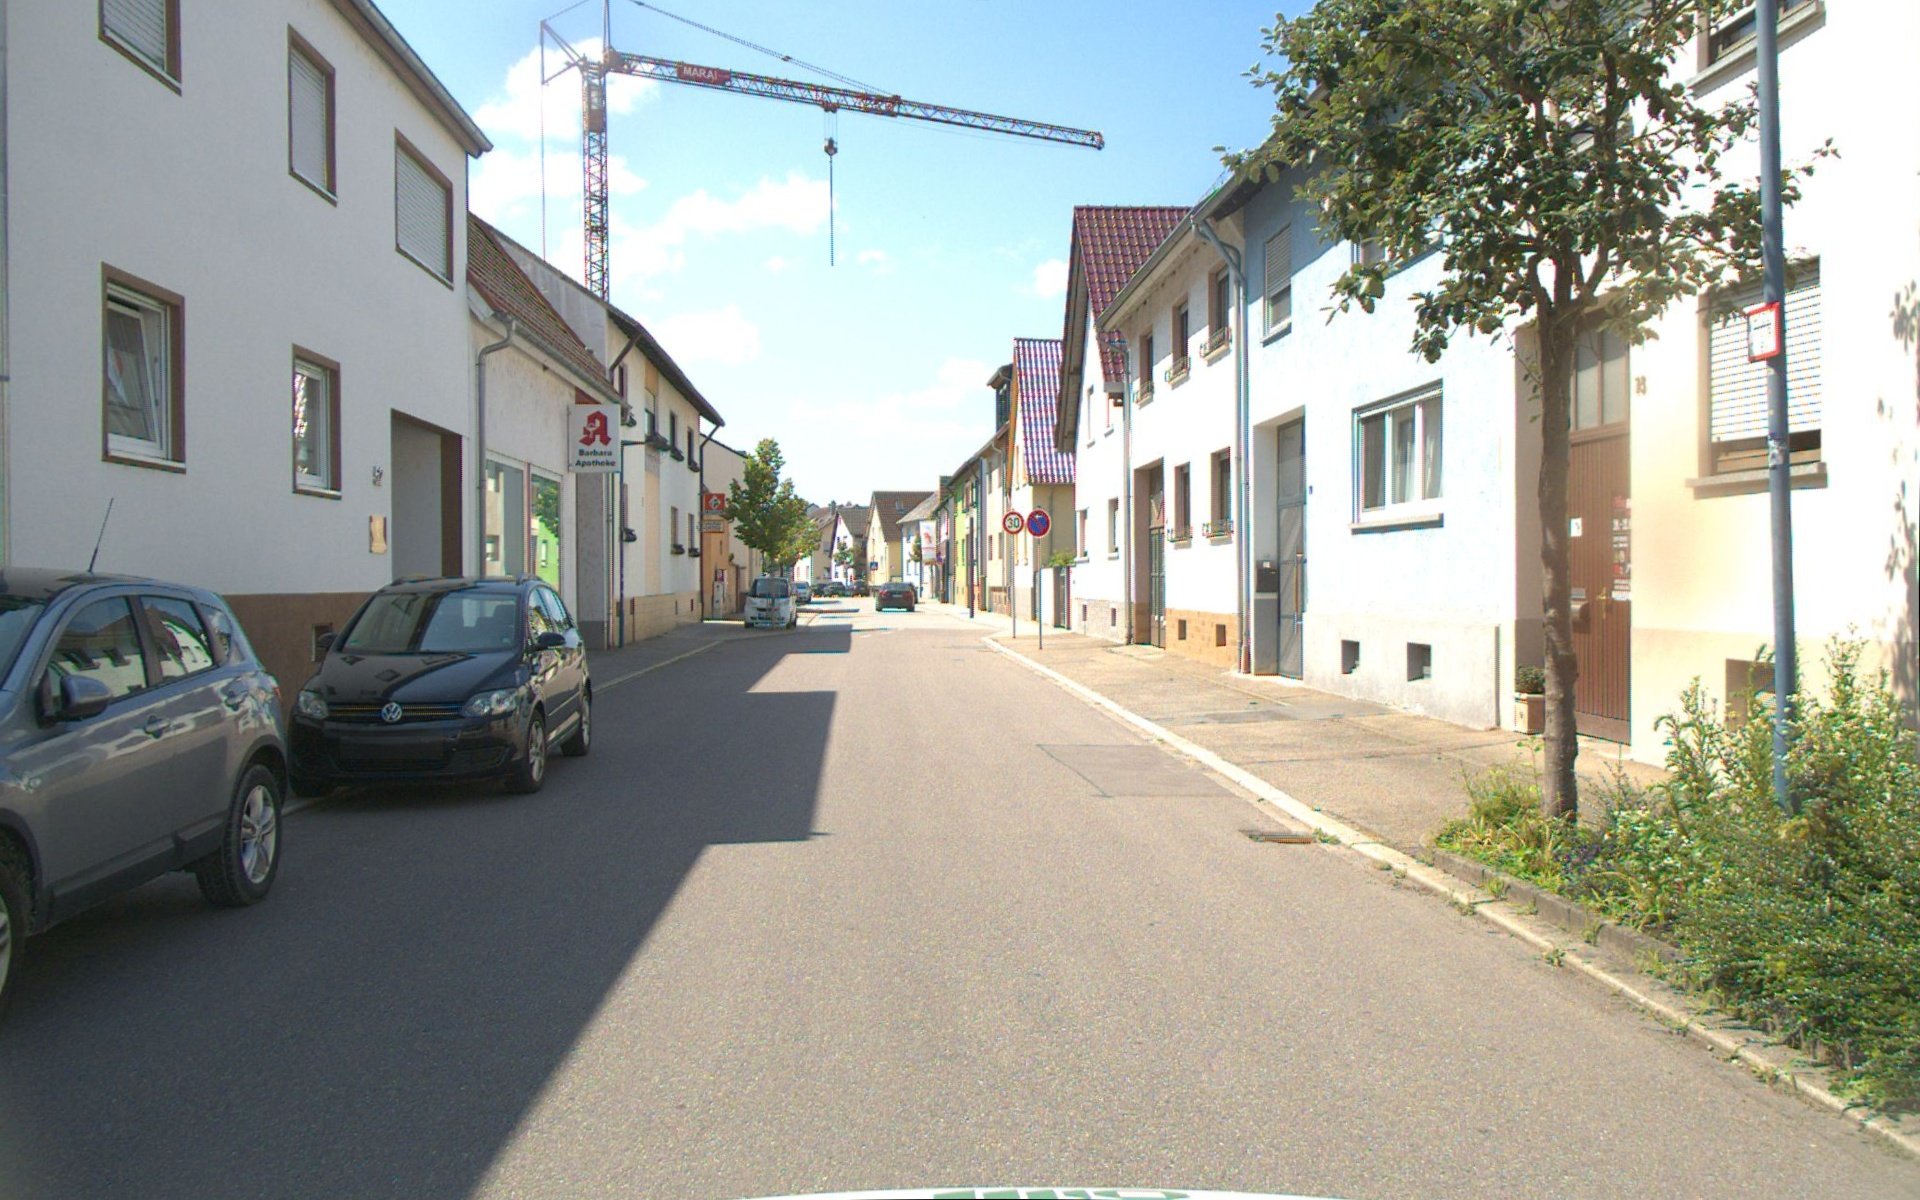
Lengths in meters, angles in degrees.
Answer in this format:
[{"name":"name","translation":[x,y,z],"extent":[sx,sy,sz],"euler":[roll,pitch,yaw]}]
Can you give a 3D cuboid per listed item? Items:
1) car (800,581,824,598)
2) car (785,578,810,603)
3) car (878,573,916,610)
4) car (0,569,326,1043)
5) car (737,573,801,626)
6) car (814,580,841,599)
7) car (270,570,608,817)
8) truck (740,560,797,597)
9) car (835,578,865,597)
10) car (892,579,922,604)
[{"name":"car","translation":[-15.793,-1.130,175.957],"extent":[1.791,1.784,4.211],"euler":[-1,0,-16]},{"name":"car","translation":[-11.927,-0.700,121.111],"extent":[1.701,1.716,4.226],"euler":[1,0,-7]},{"name":"car","translation":[-3.195,-0.410,82.945],"extent":[1.748,1.784,3.997],"euler":[-1,0,-4]},{"name":"car","translation":[-4.082,0.668,6.533],"extent":[1.724,1.551,4.286],"euler":[-1,1,-4]},{"name":"car","translation":[-5.990,-0.049,52.213],"extent":[1.688,1.583,4.170],"euler":[1,1,-3]},{"name":"car","translation":[-13.542,-1.061,168.551],"extent":[1.793,1.784,4.206],"euler":[-1,0,-19]},{"name":"car","translation":[-3.930,0.600,13.152],"extent":[1.620,1.637,4.058],"euler":[-1,1,-4]},{"name":"truck","translation":[-21.223,-2.307,182.482],"extent":[3.328,3.933,13.847],"euler":[-1,0,-19]},{"name":"car","translation":[-10.576,-1.196,159.135],"extent":[1.756,1.784,4.204],"euler":[-1,0,-20]},{"name":"car","translation":[-3.645,-0.588,112.585],"extent":[1.748,1.591,4.332],"euler":[-1,0,-5]}]
